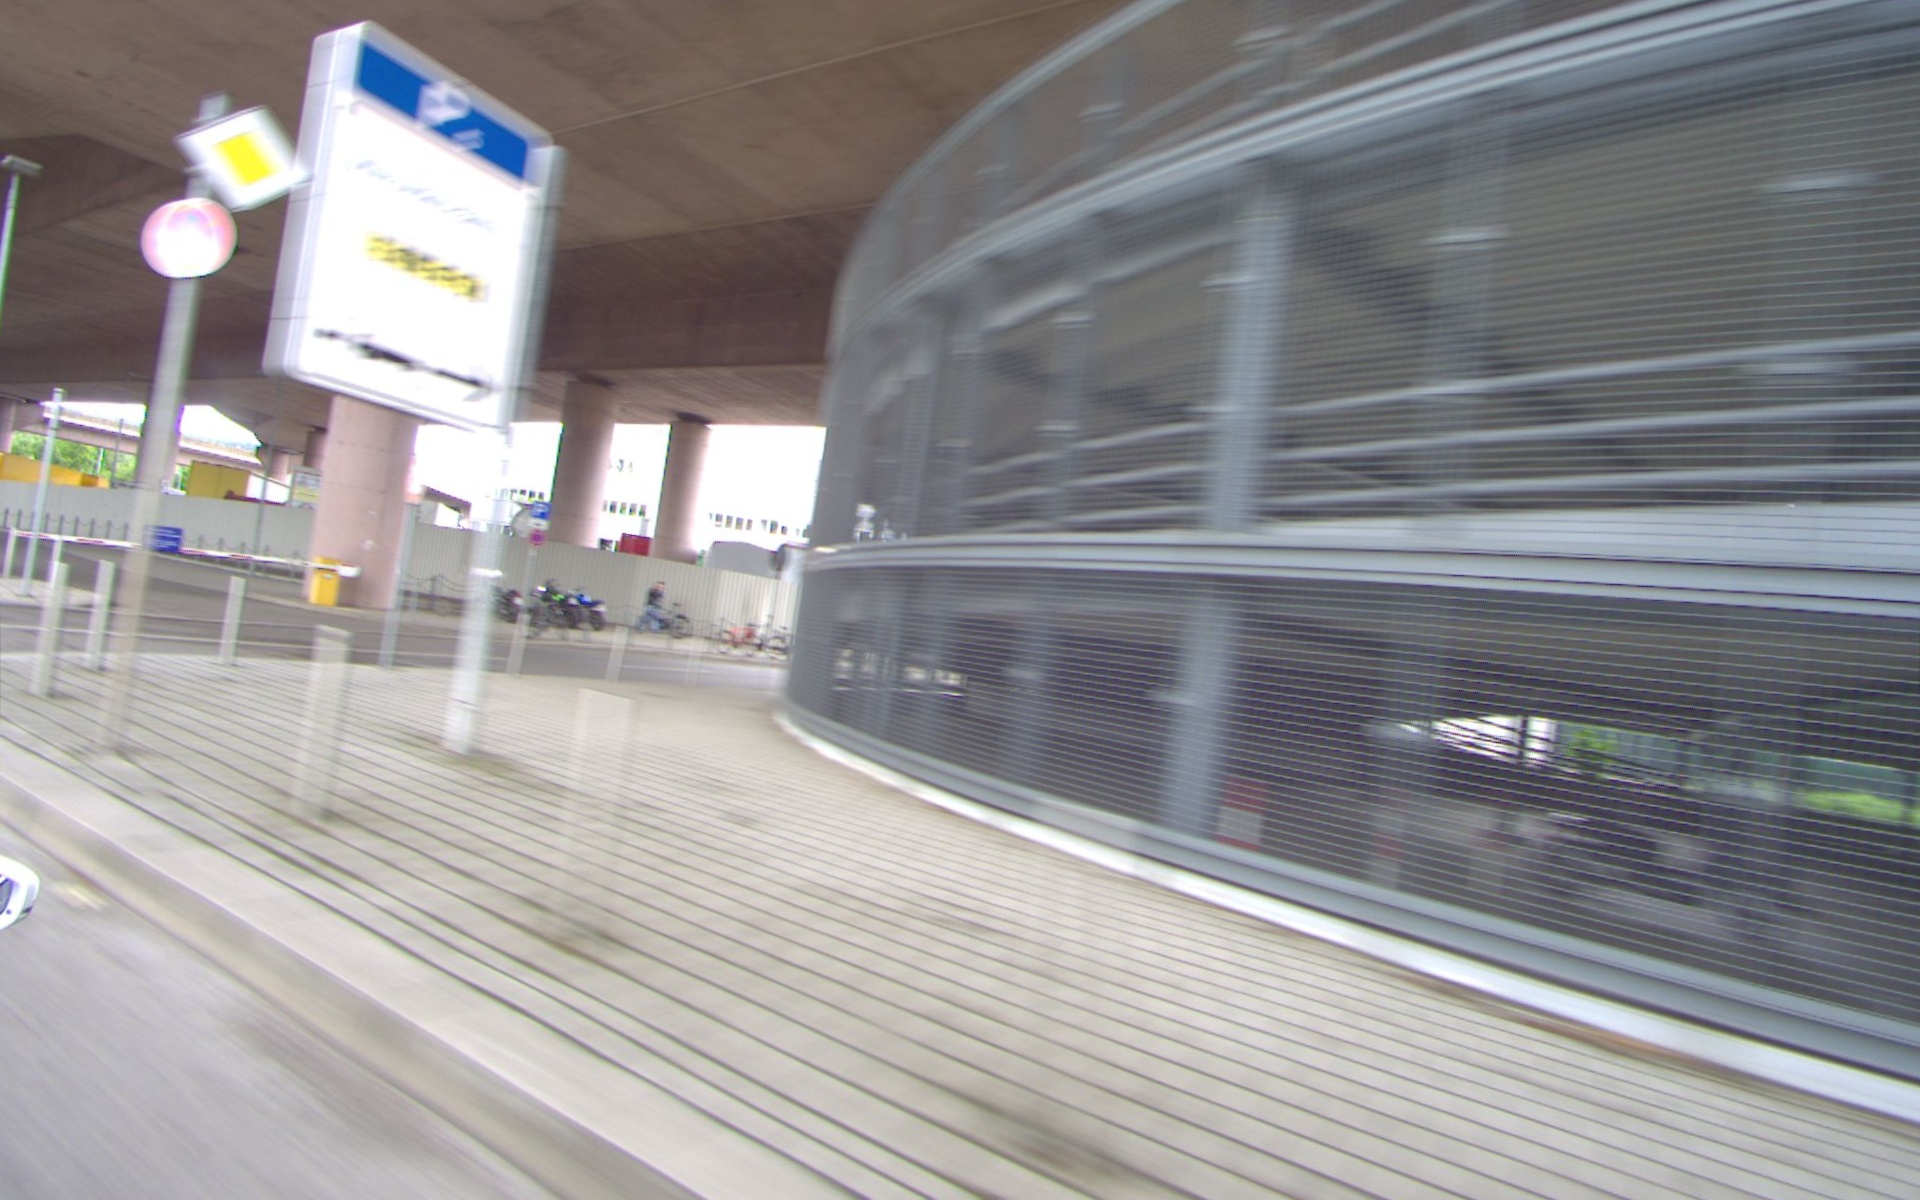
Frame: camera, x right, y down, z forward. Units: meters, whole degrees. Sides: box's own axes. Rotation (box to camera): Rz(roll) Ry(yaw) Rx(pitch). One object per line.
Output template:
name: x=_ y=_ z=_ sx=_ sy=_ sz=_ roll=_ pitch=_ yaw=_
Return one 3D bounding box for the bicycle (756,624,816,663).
bicycle: x=-5.622 y=1.420 z=32.608 sx=0.390 sy=1.035 sz=2.057 roll=8 pitch=-2 yaw=39

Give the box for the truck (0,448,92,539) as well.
truck: x=-61.381 y=-6.989 z=65.526 sx=3.099 sy=4.973 sz=8.699 roll=8 pitch=-2 yaw=-14

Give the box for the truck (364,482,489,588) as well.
truck: x=-25.622 y=-2.903 z=48.932 sx=2.771 sy=4.207 sz=9.903 roll=7 pitch=-1 yaw=-15

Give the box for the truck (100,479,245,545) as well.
truck: x=-46.110 y=-5.058 z=59.297 sx=3.096 sy=2.981 sz=8.695 roll=5 pitch=0 yaw=-13

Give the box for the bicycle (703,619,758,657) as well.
bicycle: x=-7.022 y=1.181 z=30.854 sx=0.429 sy=0.993 sz=1.733 roll=8 pitch=-2 yaw=31

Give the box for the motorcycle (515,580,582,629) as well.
motorcycle: x=-12.228 y=0.119 z=29.870 sx=2.292 sy=1.118 sz=0.543 roll=9 pitch=0 yaw=34

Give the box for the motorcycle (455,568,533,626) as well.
motorcycle: x=-13.082 y=-0.101 z=28.208 sx=2.497 sy=1.250 sz=0.782 roll=9 pitch=0 yaw=37

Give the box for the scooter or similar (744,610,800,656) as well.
scooter or similar: x=-6.367 y=1.112 z=34.003 sx=1.656 sy=1.232 sz=0.542 roll=11 pitch=1 yaw=-15

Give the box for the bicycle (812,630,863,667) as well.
bicycle: x=-4.167 y=1.666 z=34.324 sx=0.431 sy=1.035 sz=1.728 roll=8 pitch=-2 yaw=43

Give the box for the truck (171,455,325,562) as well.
truck: x=-37.680 y=-4.639 z=53.775 sx=3.099 sy=4.496 sz=9.698 roll=7 pitch=-1 yaw=-15

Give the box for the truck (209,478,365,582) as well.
truck: x=-33.486 y=-3.266 z=50.647 sx=2.853 sy=4.233 sz=10.041 roll=7 pitch=-1 yaw=-14

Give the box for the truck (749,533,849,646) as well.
truck: x=-7.424 y=-0.448 z=45.330 sx=2.867 sy=4.288 sz=8.741 roll=7 pitch=-1 yaw=-17

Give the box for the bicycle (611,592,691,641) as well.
bicycle: x=-9.887 y=0.539 z=32.249 sx=2.298 sy=1.118 sz=0.618 roll=11 pitch=1 yaw=-18

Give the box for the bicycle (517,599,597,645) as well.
bicycle: x=-10.101 y=0.569 z=25.284 sx=0.411 sy=0.936 sz=2.020 roll=8 pitch=-2 yaw=25

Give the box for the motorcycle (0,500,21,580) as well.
motorcycle: x=-17.842 y=-1.194 z=17.750 sx=2.089 sy=1.383 sz=0.799 roll=8 pitch=0 yaw=17

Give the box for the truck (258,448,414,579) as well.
truck: x=-29.122 y=-3.772 z=47.603 sx=3.100 sy=4.982 sz=9.698 roll=7 pitch=-1 yaw=-15

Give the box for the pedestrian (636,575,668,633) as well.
pedestrian: x=-10.451 y=0.134 z=34.105 sx=0.499 sy=1.847 sz=0.642 roll=7 pitch=-1 yaw=38

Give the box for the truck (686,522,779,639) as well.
truck: x=-9.970 y=-0.789 z=43.367 sx=2.867 sy=4.208 sz=8.741 roll=7 pitch=-1 yaw=-17

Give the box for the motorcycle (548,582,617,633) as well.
motorcycle: x=-11.558 y=0.218 z=30.758 sx=2.290 sy=1.119 sz=0.573 roll=11 pitch=1 yaw=32

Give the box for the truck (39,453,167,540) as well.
truck: x=-63.579 y=-7.518 z=74.978 sx=3.099 sy=4.958 sz=8.699 roll=8 pitch=-2 yaw=-14

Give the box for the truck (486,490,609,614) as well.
truck: x=-17.468 y=-1.834 z=43.402 sx=2.965 sy=4.354 sz=10.272 roll=7 pitch=-1 yaw=-14
